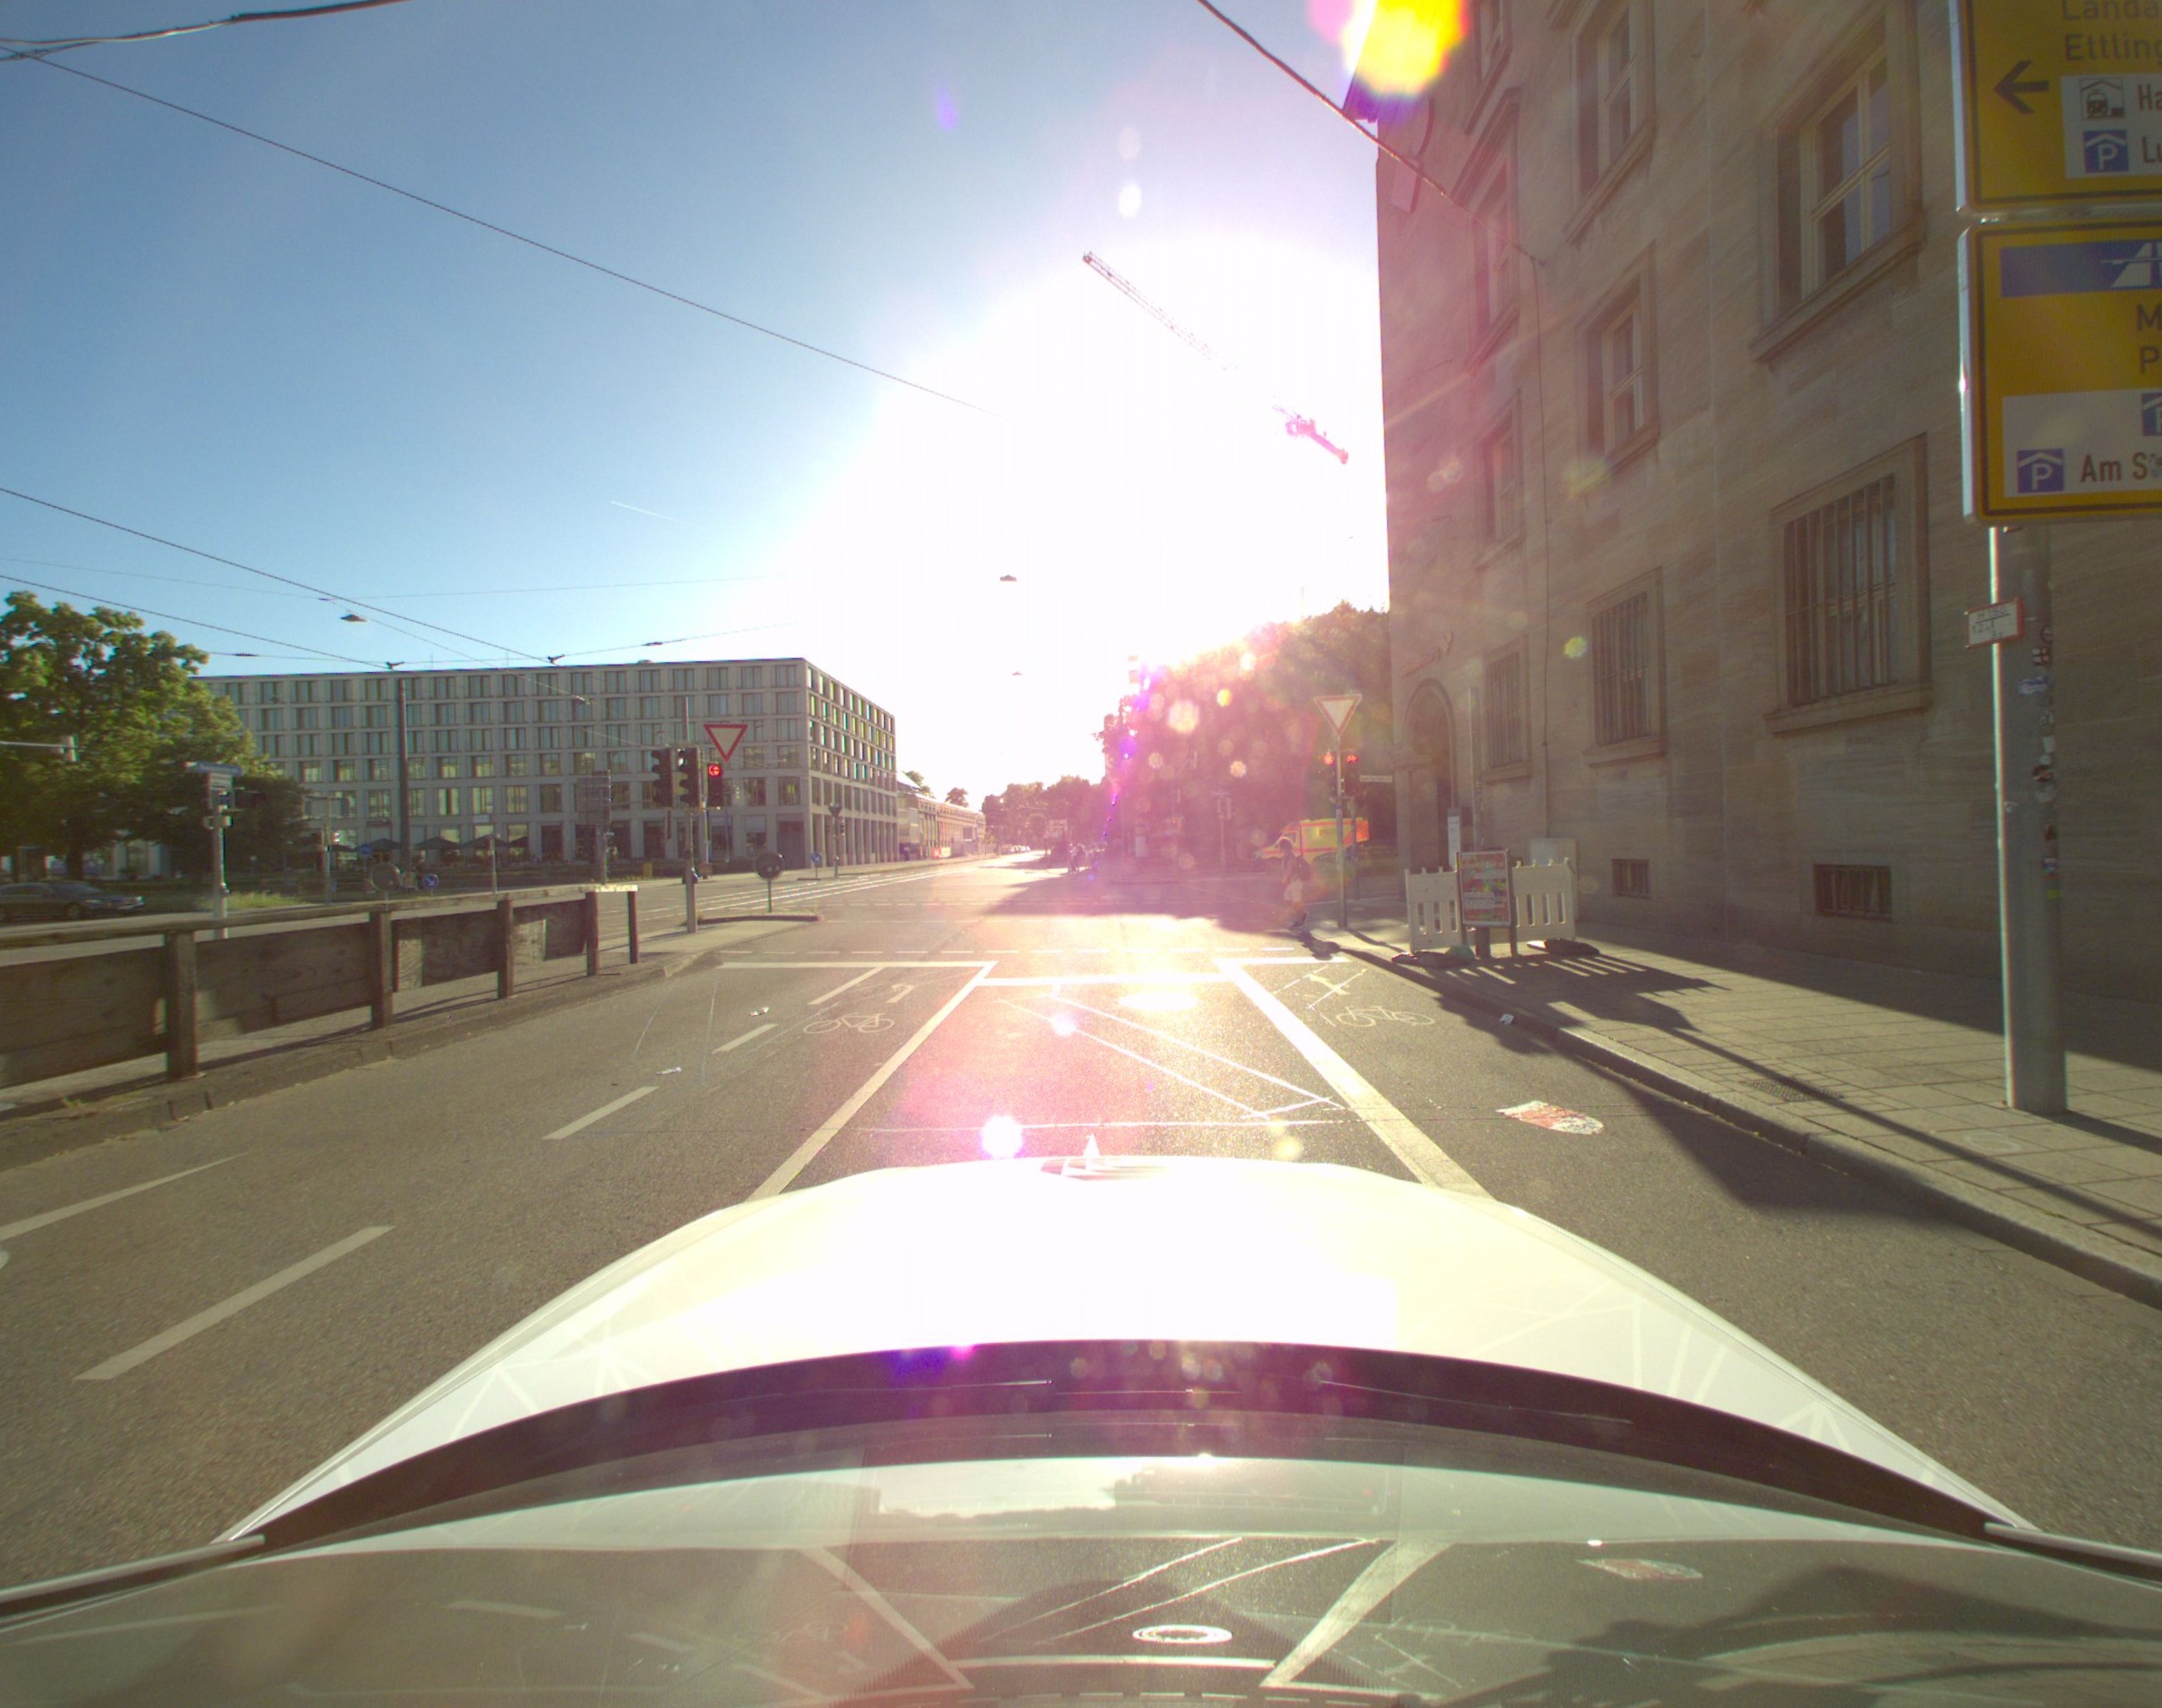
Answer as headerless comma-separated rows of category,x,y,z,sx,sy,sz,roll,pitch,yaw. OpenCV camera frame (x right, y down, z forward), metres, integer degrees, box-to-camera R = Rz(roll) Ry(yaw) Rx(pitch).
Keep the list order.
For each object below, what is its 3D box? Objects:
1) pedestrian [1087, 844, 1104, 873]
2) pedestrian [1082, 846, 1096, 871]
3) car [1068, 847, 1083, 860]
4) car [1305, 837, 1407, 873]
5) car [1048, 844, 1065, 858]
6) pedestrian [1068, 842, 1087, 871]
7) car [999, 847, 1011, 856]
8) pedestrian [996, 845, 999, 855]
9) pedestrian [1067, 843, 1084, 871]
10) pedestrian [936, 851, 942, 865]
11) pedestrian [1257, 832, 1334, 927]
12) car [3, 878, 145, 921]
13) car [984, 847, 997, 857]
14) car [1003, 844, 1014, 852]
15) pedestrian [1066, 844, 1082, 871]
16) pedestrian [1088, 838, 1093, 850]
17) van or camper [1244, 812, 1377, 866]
pedestrian,0.929,0.286,52.571,0.849,1.784,0.776,-2,0,-15
pedestrian,0.500,0.280,53.205,0.763,1.558,0.585,-2,0,-15
car,-0.689,-0.059,98.363,1.678,1.501,3.510,0,0,2
car,13.082,0.058,38.927,4.297,1.647,1.889,0,-1,2
car,-2.693,-0.276,89.213,1.678,1.501,3.510,0,0,2
pedestrian,-0.227,0.176,51.293,0.967,1.784,0.776,-2,0,-15
car,-15.173,-0.521,162.634,1.812,1.712,3.807,-2,0,2
pedestrian,-12.485,-0.553,121.690,0.522,1.484,0.437,0,-1,0
pedestrian,-0.364,0.210,53.026,0.849,1.784,0.776,-2,0,-15
pedestrian,-13.440,0.410,77.085,0.509,1.329,0.370,-2,0,3
pedestrian,4.079,0.468,15.536,1.039,1.720,1.032,-2,0,-10
car,-38.823,1.744,31.454,3.519,1.506,1.522,-1,0,-1
car,-16.710,-0.339,151.065,1.812,1.712,3.807,-2,0,2
car,-14.857,-1.185,167.095,1.604,1.498,3.807,-2,0,2
pedestrian,-0.449,0.242,53.911,0.849,1.784,0.776,-2,0,-15
pedestrian,2.970,-3.092,252.389,1.396,3.597,1.568,0,-1,1
van or camper,12.443,-0.761,44.664,6.674,2.861,2.915,0,-1,6
